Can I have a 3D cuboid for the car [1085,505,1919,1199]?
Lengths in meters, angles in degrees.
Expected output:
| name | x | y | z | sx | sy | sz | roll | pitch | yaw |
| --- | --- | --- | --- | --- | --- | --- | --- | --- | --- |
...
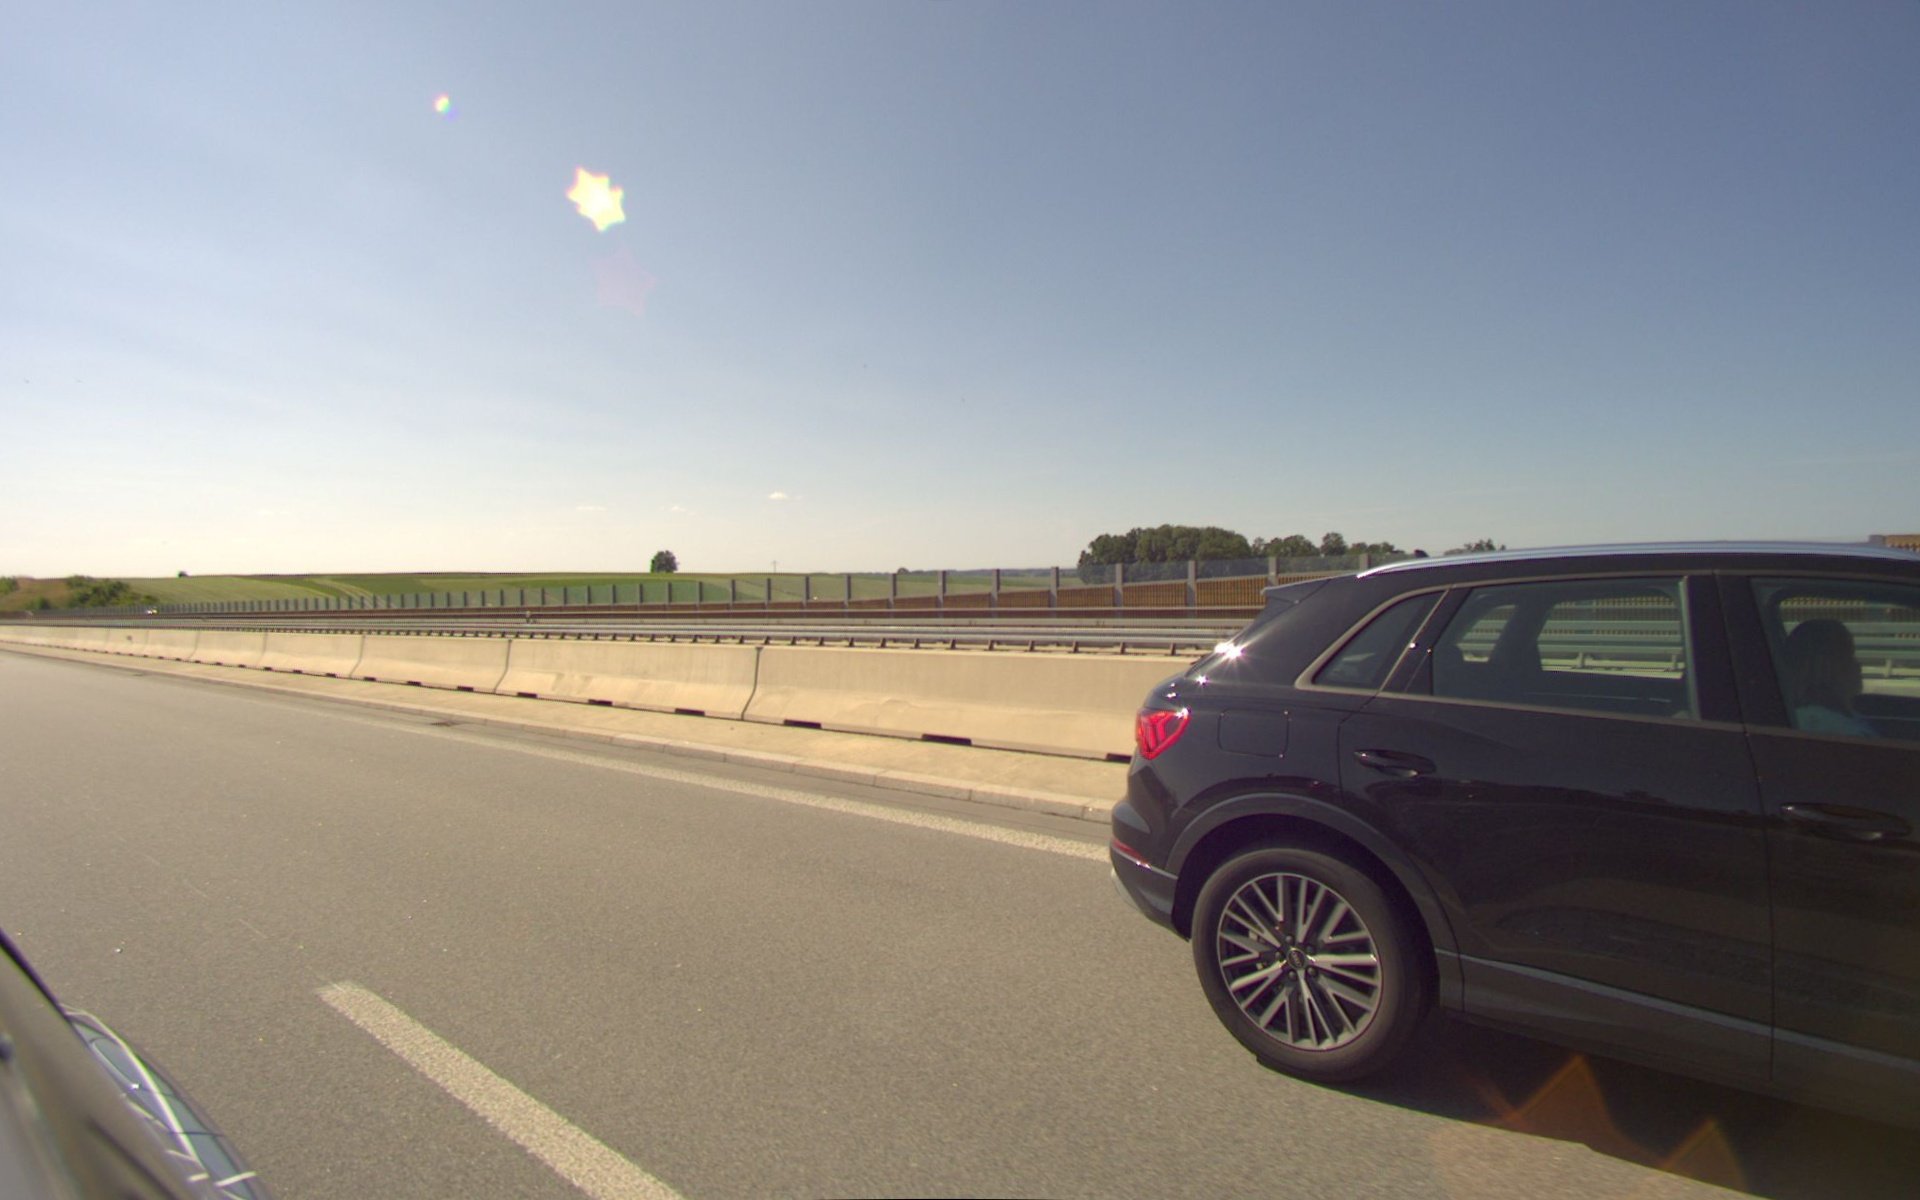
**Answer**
| name | x | y | z | sx | sy | sz | roll | pitch | yaw |
| --- | --- | --- | --- | --- | --- | --- | --- | --- | --- |
| car | 2.945 | 0.594 | 2.356 | 5.220 | 1.600 | 1.704 | -1 | -1 | 41 |
